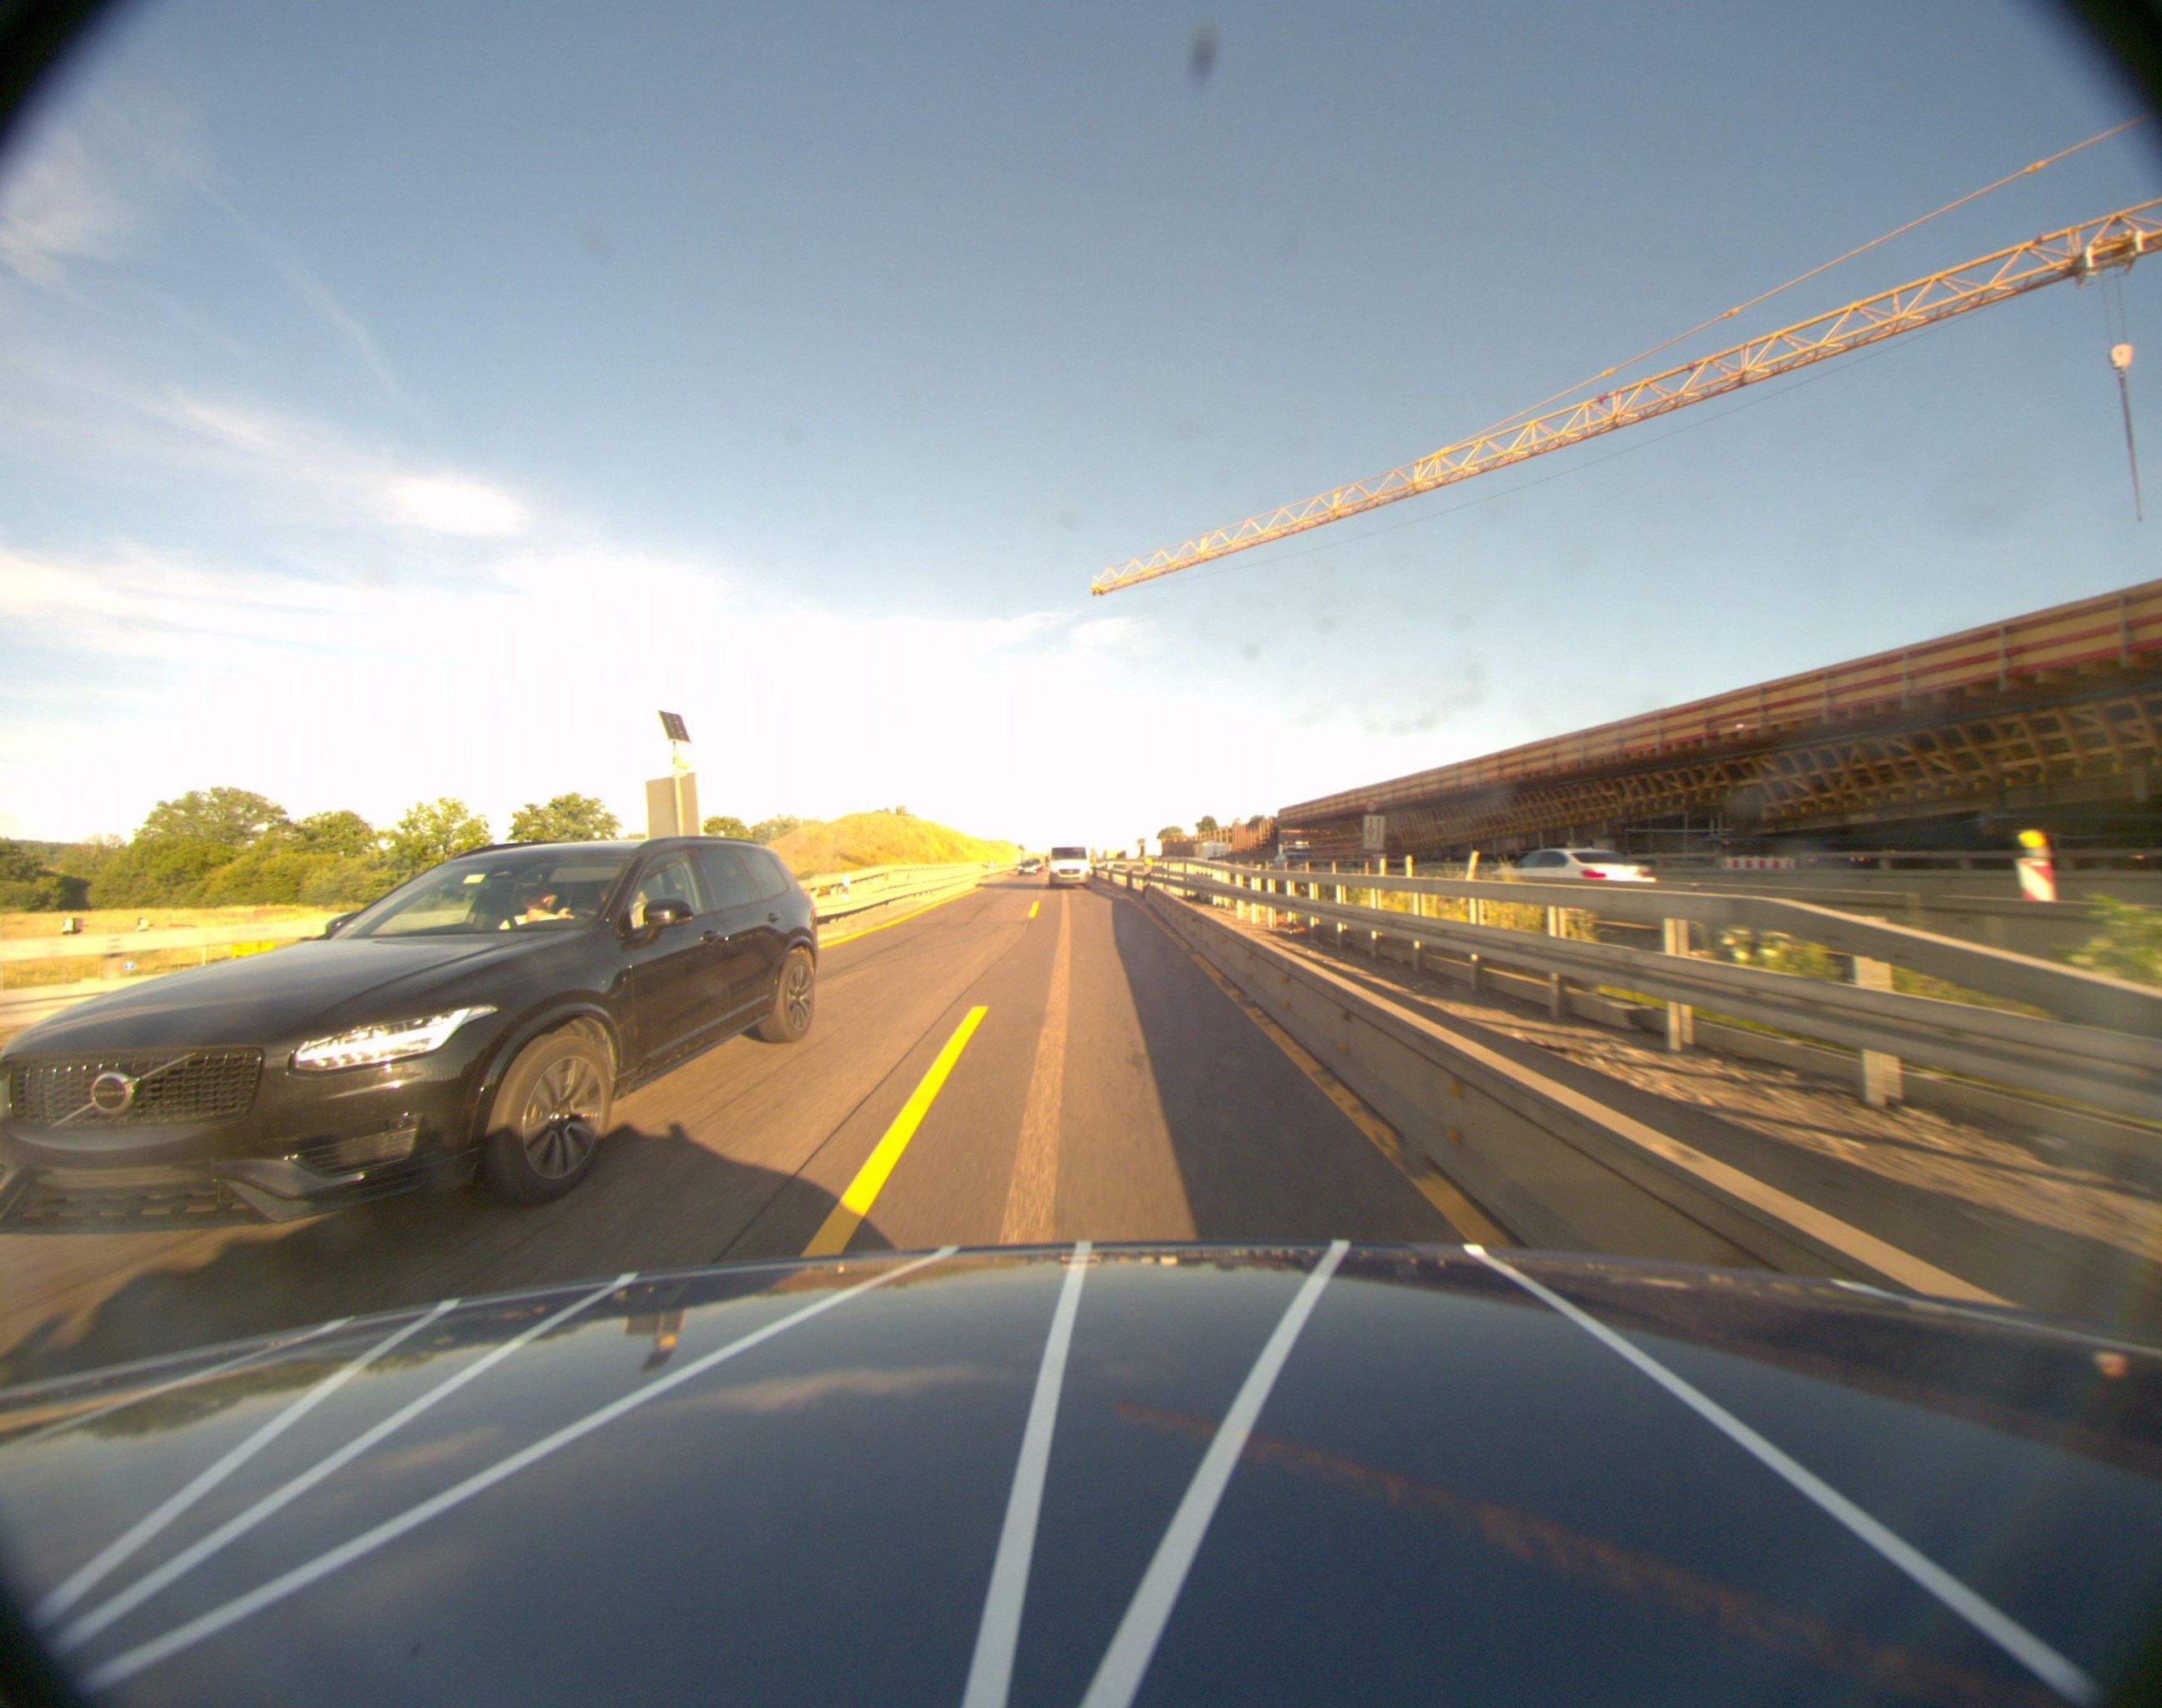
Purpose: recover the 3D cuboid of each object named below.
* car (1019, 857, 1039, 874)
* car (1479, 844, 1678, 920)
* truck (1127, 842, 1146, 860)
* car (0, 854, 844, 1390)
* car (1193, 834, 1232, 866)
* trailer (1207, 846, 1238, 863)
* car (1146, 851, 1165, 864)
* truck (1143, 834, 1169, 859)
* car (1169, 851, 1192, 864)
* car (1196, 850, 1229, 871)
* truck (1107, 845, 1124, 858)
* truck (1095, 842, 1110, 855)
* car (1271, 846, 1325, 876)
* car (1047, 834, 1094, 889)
[{"bbox_3d":[-4.999,1.101,73.175,1.791,1.477,3.999,-2,0,-2],"label":"car"},{"bbox_3d":[12.073,0.611,18.900,1.734,1.591,4.660,-2,0,-2],"label":"car"},{"bbox_3d":[10.459,-0.622,144.442,2.775,3.224,7.161,-2,0,-2],"label":"truck"},{"bbox_3d":[-3.326,0.898,4.932,1.902,1.703,4.887,-2,0,1],"label":"car"},{"bbox_3d":[12.941,-0.417,75.152,2.334,2.949,6.160,-2,0,-4],"label":"car"},{"bbox_3d":[13.240,0.074,71.027,2.328,1.504,2.144,-2,0,-4],"label":"trailer"},{"bbox_3d":[9.215,0.421,94.605,1.620,1.511,4.111,-2,0,-5],"label":"car"},{"bbox_3d":[11.488,-1.094,117.120,2.796,3.704,7.161,-2,0,-2],"label":"truck"},{"bbox_3d":[10.476,0.334,80.388,1.734,1.270,4.112,-2,0,-2],"label":"car"},{"bbox_3d":[10.413,0.492,60.459,1.734,1.591,4.112,-2,0,-2],"label":"car"},{"bbox_3d":[9.055,-0.748,201.127,3.344,3.223,10.970,-2,0,-2],"label":"truck"},{"bbox_3d":[6.743,-1.638,242.063,3.922,3.728,9.725,-3,0,-2],"label":"truck"},{"bbox_3d":[11.510,0.347,40.557,1.665,1.382,4.000,-6,0,0],"label":"car"},{"bbox_3d":[-0.537,0.324,38.213,2.110,2.518,5.219,-2,0,-1],"label":"car"}]
